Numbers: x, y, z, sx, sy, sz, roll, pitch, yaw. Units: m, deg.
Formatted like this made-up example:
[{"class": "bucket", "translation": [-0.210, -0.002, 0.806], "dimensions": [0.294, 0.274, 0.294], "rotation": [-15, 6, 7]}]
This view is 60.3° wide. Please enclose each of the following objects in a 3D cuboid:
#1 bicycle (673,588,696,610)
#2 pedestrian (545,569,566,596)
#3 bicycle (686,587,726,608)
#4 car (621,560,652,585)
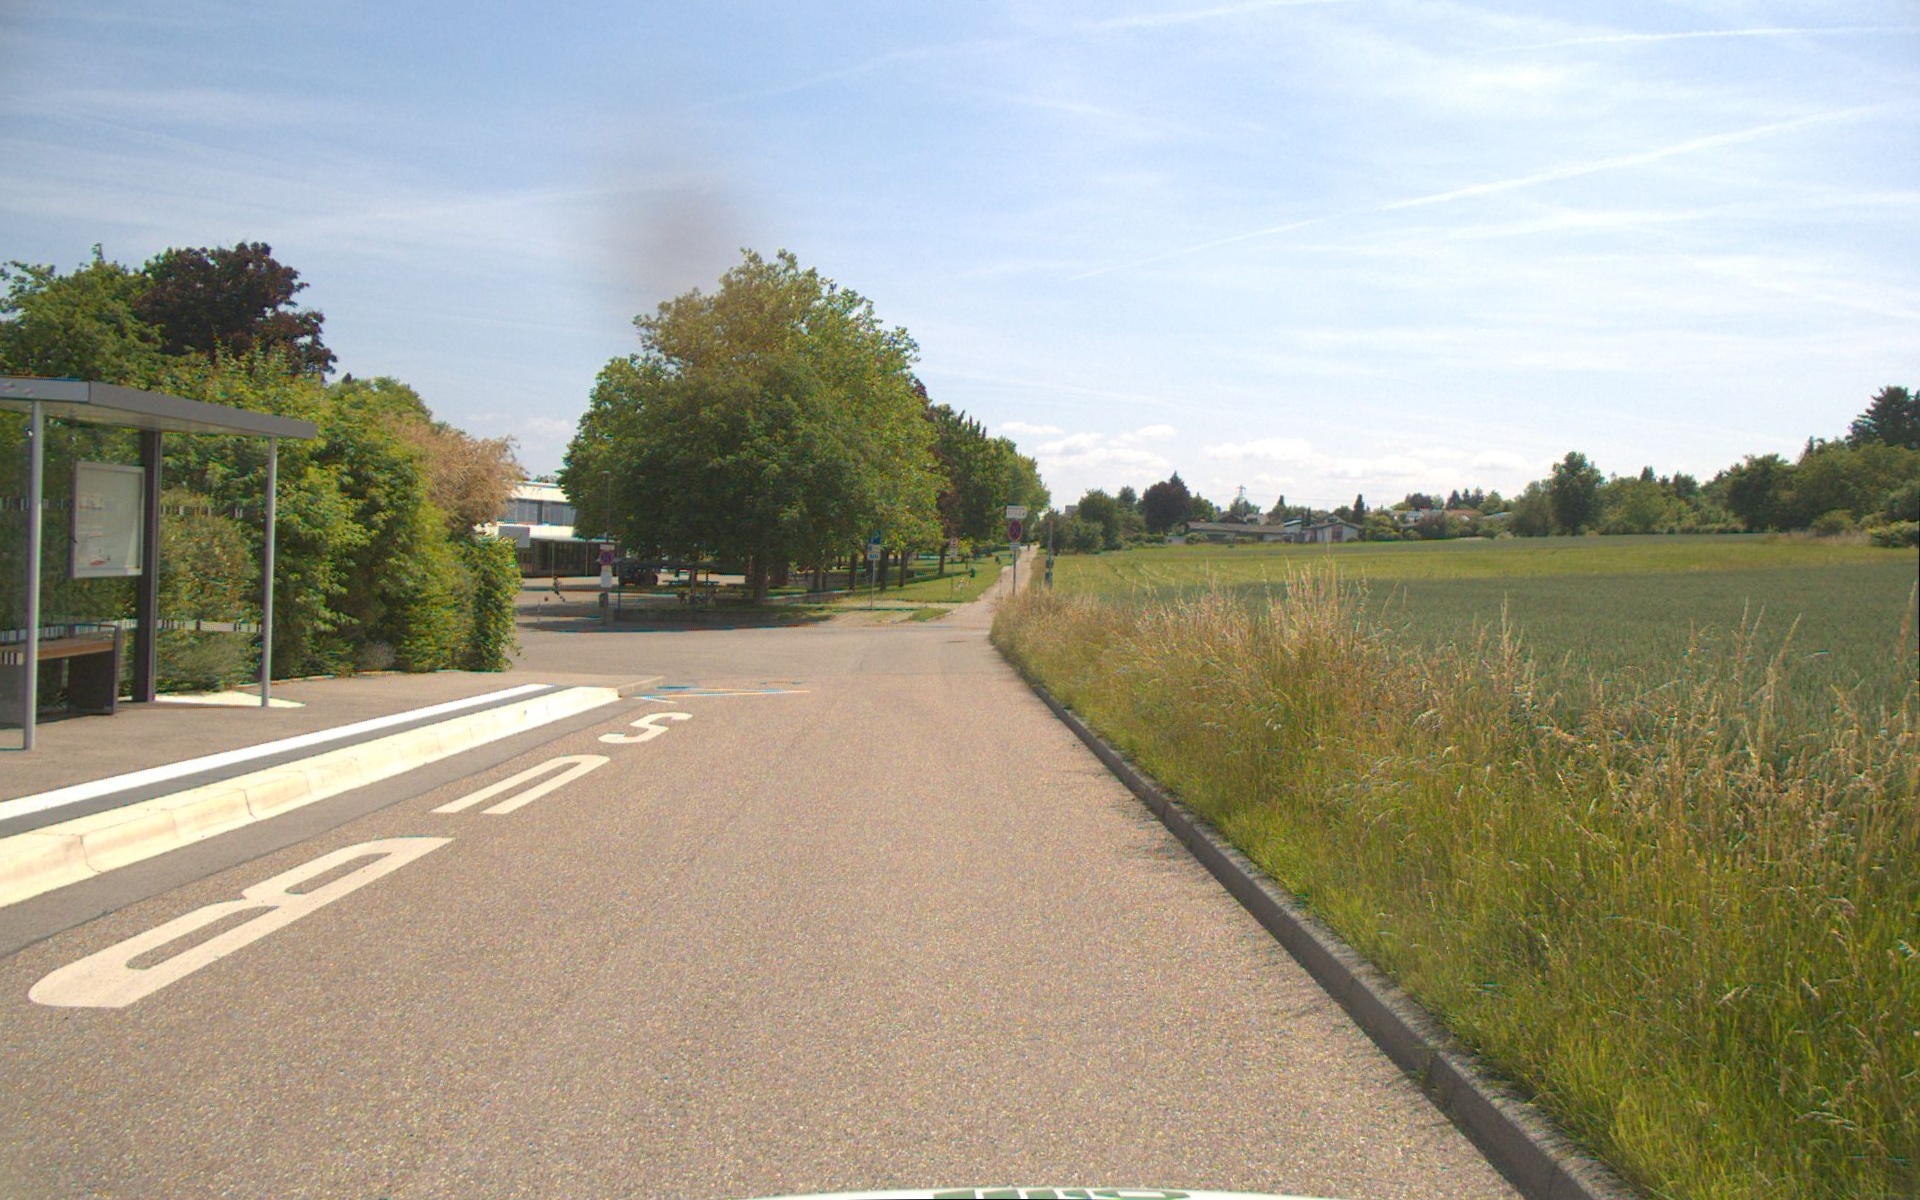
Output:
[{"class": "bicycle", "translation": [-14.024, -0.054, 84.258], "dimensions": [0.582, 1.057, 1.895], "rotation": [0, 1, 9]}, {"class": "pedestrian", "translation": [-22.243, -0.955, 90.976], "dimensions": [1.047, 1.448, 0.917], "rotation": [1, 1, -12]}, {"class": "bicycle", "translation": [-13.225, -0.138, 86.132], "dimensions": [2.022, 1.057, 0.571], "rotation": [0, 1, -6]}, {"class": "car", "translation": [-24.057, -2.054, 123.131], "dimensions": [1.656, 1.866, 3.411], "rotation": [1, 1, 0]}]
